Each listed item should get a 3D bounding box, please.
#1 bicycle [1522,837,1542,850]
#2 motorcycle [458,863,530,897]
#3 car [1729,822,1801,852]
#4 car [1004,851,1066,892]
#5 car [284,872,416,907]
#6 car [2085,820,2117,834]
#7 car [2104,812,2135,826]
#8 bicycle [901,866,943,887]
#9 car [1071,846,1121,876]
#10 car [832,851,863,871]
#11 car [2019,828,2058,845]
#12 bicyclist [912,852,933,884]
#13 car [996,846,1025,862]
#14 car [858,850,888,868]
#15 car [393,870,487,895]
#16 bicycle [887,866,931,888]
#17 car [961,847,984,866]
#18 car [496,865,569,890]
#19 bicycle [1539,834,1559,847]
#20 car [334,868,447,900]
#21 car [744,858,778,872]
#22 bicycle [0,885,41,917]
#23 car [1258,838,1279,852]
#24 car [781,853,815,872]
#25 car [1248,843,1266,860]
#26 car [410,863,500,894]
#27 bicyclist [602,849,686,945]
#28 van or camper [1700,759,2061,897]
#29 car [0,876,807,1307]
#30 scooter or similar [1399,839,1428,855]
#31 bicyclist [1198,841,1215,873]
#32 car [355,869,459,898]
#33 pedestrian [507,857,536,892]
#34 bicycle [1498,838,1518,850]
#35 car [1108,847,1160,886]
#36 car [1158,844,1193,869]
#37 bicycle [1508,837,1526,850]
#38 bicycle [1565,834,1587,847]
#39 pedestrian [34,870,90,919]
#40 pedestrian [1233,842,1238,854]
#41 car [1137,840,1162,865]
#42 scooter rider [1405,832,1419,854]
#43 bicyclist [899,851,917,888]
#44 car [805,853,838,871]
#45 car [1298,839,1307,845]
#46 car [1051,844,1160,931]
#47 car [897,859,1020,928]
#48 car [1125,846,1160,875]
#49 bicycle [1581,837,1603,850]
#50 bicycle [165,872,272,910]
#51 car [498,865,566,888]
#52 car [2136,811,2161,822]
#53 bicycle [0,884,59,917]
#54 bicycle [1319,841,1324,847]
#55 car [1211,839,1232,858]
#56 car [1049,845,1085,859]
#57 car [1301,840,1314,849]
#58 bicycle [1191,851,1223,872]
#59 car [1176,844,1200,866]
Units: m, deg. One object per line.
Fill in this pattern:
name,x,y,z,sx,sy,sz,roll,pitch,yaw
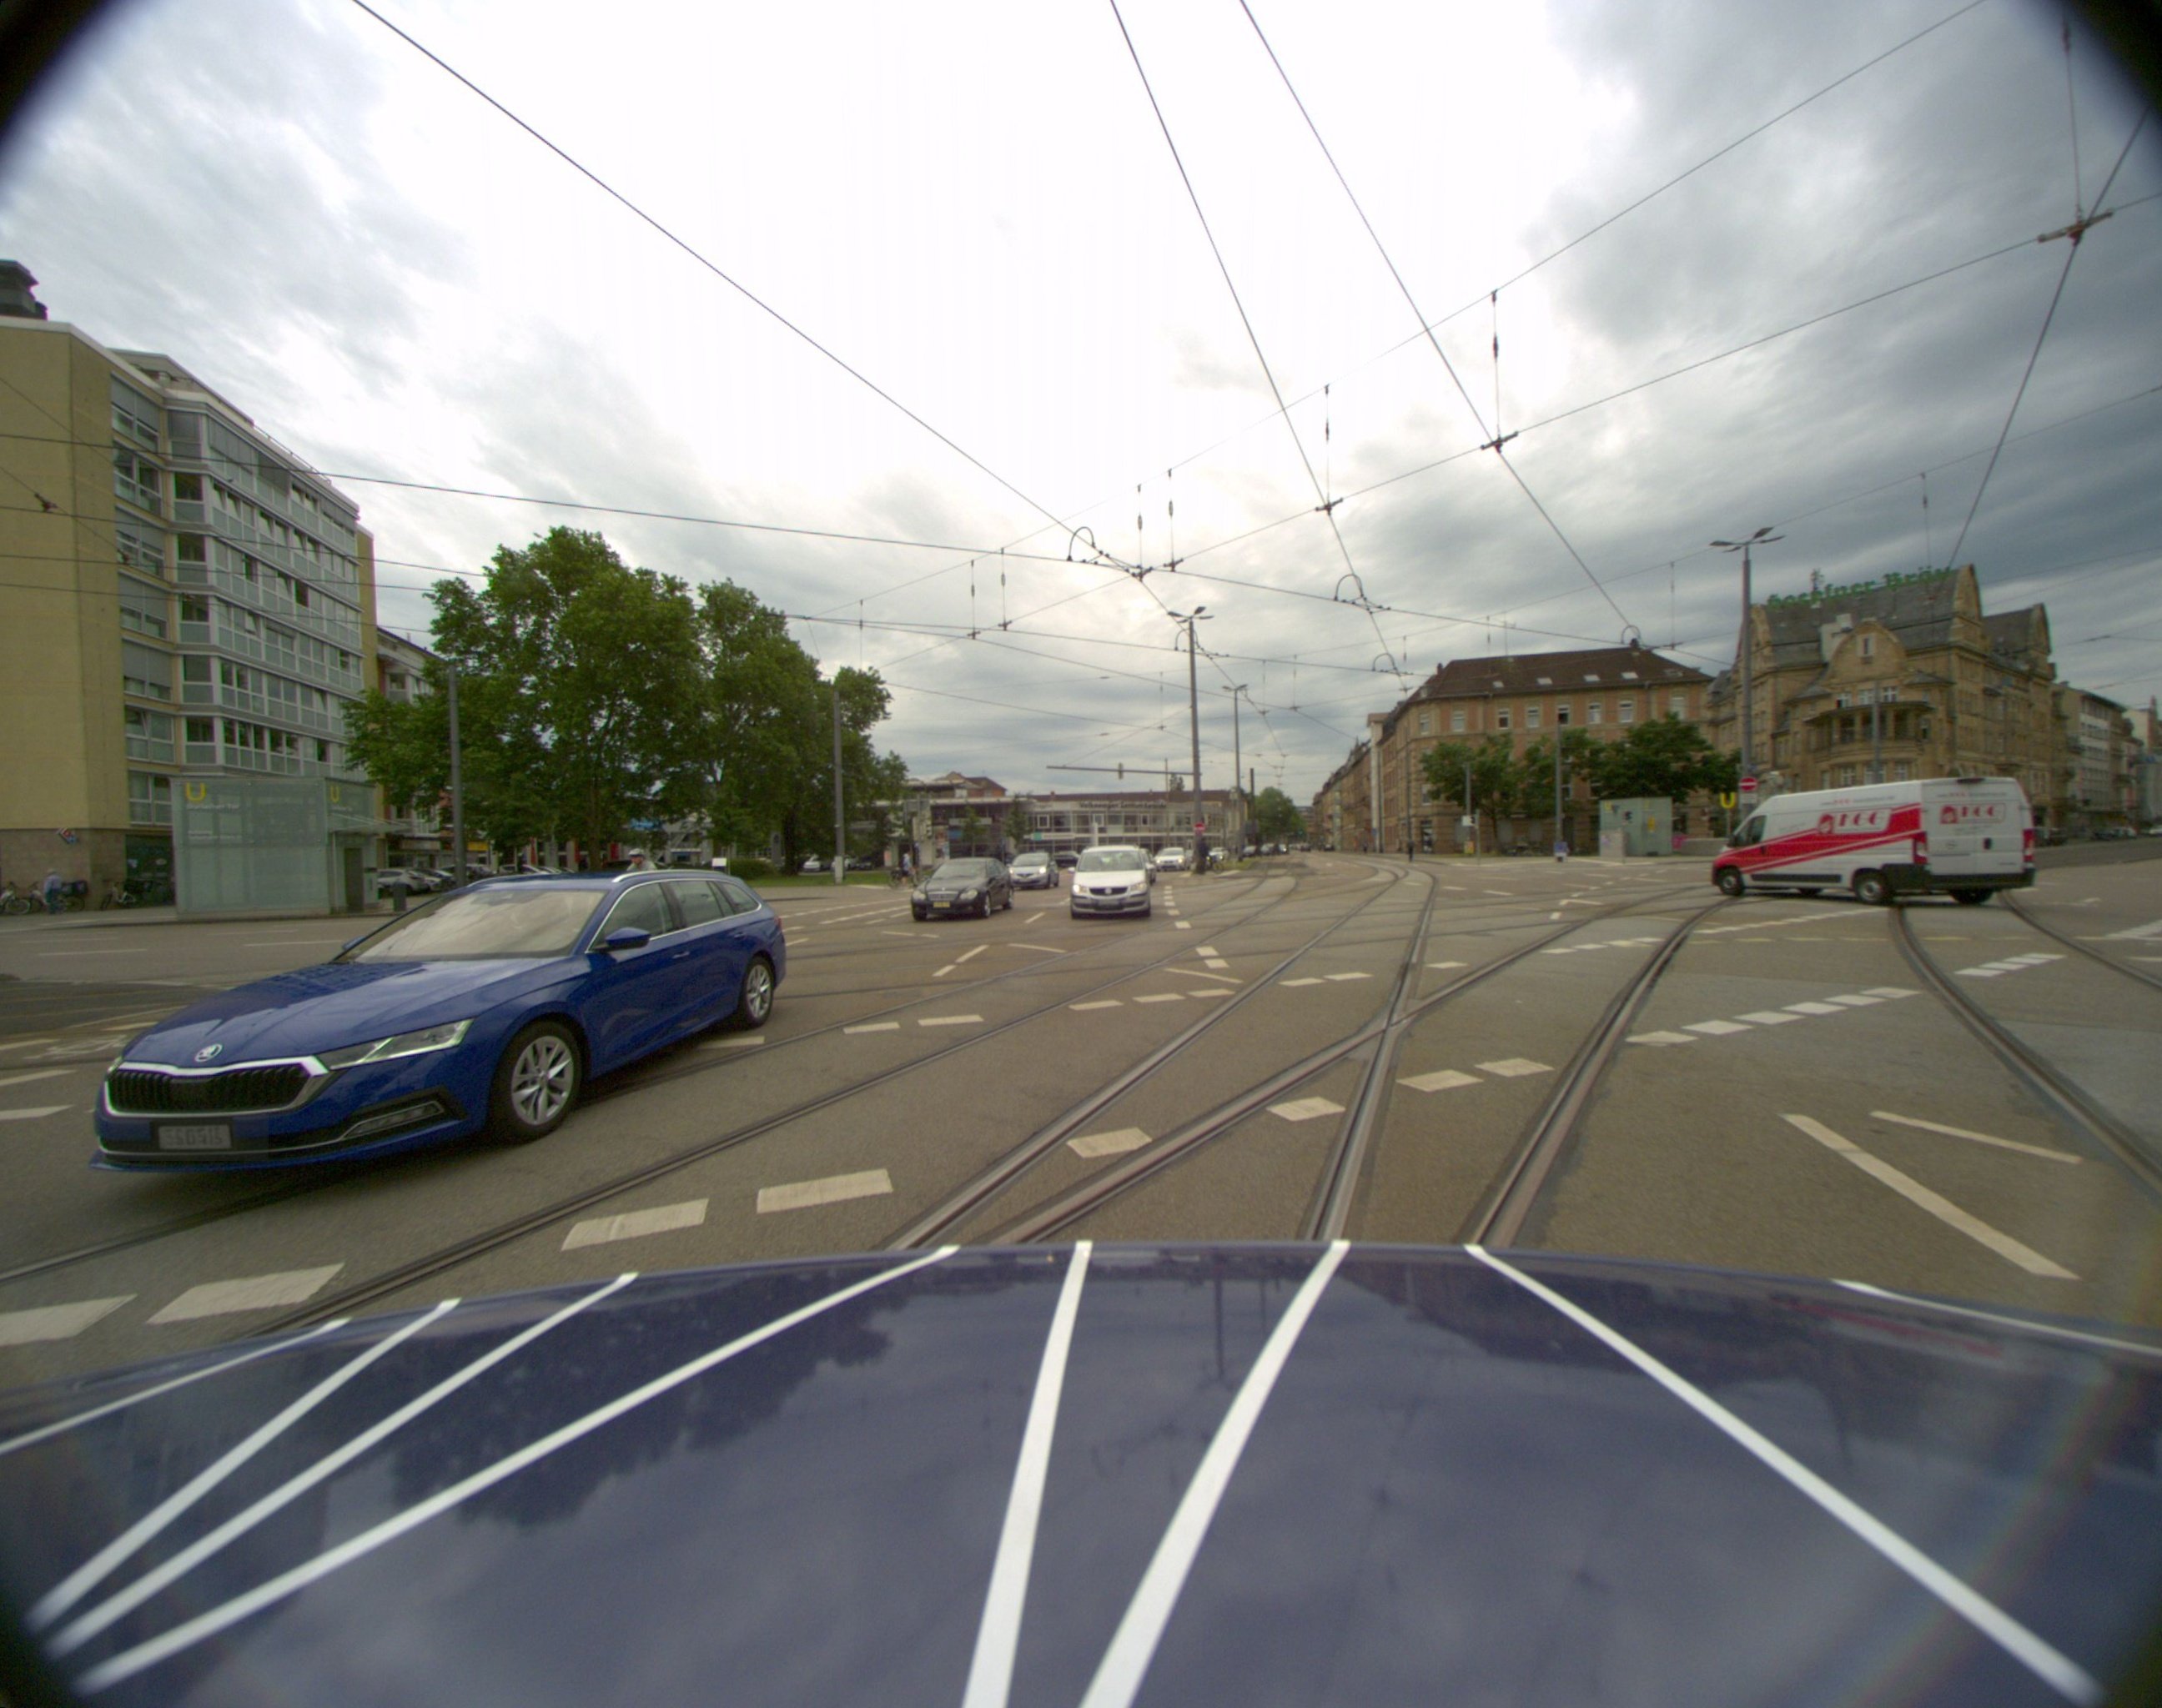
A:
bicycle,37.812,-0.898,63.694,0.753,1.024,2.399,-4,1,15
motorcycle,-25.577,1.115,33.175,2.296,1.358,1.044,-2,1,-26
car,40.411,-0.998,44.878,4.251,1.602,1.995,-3,1,-31
car,-1.809,0.671,31.403,1.708,1.475,3.935,-3,1,8
car,-35.124,1.671,36.638,4.170,1.434,1.838,-1,1,-18
car,116.790,-3.096,86.973,4.008,1.457,1.828,-3,1,-31
car,122.819,-4.132,89.842,4.008,1.457,1.828,-3,1,-31
bicycle,-7.880,1.124,37.615,1.946,0.992,0.601,1,1,-5
car,0.908,0.378,43.509,1.980,1.550,4.148,-2,1,13
car,-25.988,0.736,84.705,1.955,1.589,4.225,-2,7,3
car,90.758,-1.639,72.045,4.008,1.457,1.828,-3,1,-31
bicyclist,-7.837,0.697,37.638,0.886,1.513,0.671,-2,1,-5
car,-7.821,-0.024,84.028,1.959,1.517,4.221,-2,2,-22
car,-23.149,0.537,84.867,1.955,1.450,4.224,-2,8,3
car,-38.571,1.689,45.847,4.005,1.327,1.833,-2,1,-26
bicycle,-8.127,1.104,36.015,1.993,0.992,0.579,-1,-1,-12
car,-11.979,0.206,84.171,1.956,1.635,4.669,-2,5,-3
car,-40.313,1.694,55.927,4.005,1.604,1.996,-2,1,-25
bicycle,38.944,-1.129,63.253,0.753,1.024,2.399,-2,0,15
car,-37.196,1.579,41.061,4.004,1.456,1.996,-2,1,-24
car,-36.363,1.239,86.331,3.119,1.504,1.441,-2,1,3
bicycle,-40.295,1.768,28.122,2.042,1.162,0.668,-2,1,-20
car,25.649,-1.239,103.580,2.369,1.745,5.135,-2,1,18
car,-31.575,0.938,84.921,1.955,1.505,4.225,-2,7,3
car,22.282,-0.311,96.354,1.996,2.002,4.004,-2,1,16
car,-39.602,1.508,48.204,4.005,1.713,1.996,-2,1,-25
bicyclist,-7.763,0.750,13.543,0.790,1.609,0.934,-3,1,10
van or camper,17.028,-0.511,16.828,2.284,2.513,5.573,-1,1,3
car,-3.773,0.997,5.293,1.769,1.428,4.757,-2,1,2
scooter or similar,25.143,-0.514,57.432,1.902,1.158,0.575,-1,1,32
bicyclist,6.528,0.161,39.584,0.656,1.630,0.517,-2,2,-24
car,-38.429,1.650,43.469,4.005,1.434,1.996,-2,1,-26
pedestrian,-29.554,1.063,40.174,0.866,1.808,0.897,-2,1,-9
bicycle,36.117,-0.853,64.309,0.836,1.024,2.399,-2,1,15
car,2.268,0.479,31.696,1.808,1.398,3.984,-1,1,8
car,5.948,0.136,47.539,1.971,1.447,4.195,-2,1,10
bicycle,36.760,-0.909,64.071,0.753,1.024,2.399,-2,1,15
bicycle,40.773,-1.146,62.603,0.753,1.024,2.399,-2,1,15
pedestrian,-37.934,1.485,28.300,0.907,1.727,0.812,-2,1,-19
pedestrian,22.650,-0.854,111.552,0.662,1.671,0.651,-1,1,14
car,5.837,-0.146,64.534,1.997,2.002,4.001,-2,1,6
scooter rider,25.033,-0.861,57.466,0.820,1.618,0.570,-1,2,32
bicyclist,-8.189,0.720,35.993,0.735,1.741,0.585,-2,0,-12
car,-28.853,0.875,84.744,1.955,1.459,4.226,-2,6,3
car,56.330,-3.072,193.193,1.813,1.423,4.021,-2,1,13
car,0.738,0.636,17.372,1.862,1.609,5.064,-2,1,8
car,-2.826,0.876,18.619,1.769,1.362,4.424,-1,1,7
car,4.622,0.461,56.184,1.997,2.002,4.003,-2,1,13
bicycle,41.930,-0.898,62.384,0.753,1.024,2.399,-1,1,15
bicycle,-35.117,1.505,30.989,2.785,1.369,0.902,-2,1,-15
car,-43.407,1.784,60.154,4.005,1.604,1.996,-2,1,-25
car,150.247,-5.322,106.934,4.008,1.457,1.828,-3,1,-31
bicycle,-40.497,1.768,28.788,2.042,1.162,0.668,-2,1,-20
bicycle,47.399,-1.989,149.782,0.798,1.285,2.413,-1,1,14
car,15.777,-0.622,85.140,1.996,2.002,4.004,-2,1,16
car,-1.531,-0.193,86.605,3.903,1.433,1.733,-2,1,5
car,42.402,-1.798,142.269,1.886,1.462,4.468,-2,1,13
bicycle,6.556,0.388,39.599,1.616,1.064,0.527,-2,2,-24
car,10.597,0.040,74.831,1.997,2.002,4.003,-2,1,13
